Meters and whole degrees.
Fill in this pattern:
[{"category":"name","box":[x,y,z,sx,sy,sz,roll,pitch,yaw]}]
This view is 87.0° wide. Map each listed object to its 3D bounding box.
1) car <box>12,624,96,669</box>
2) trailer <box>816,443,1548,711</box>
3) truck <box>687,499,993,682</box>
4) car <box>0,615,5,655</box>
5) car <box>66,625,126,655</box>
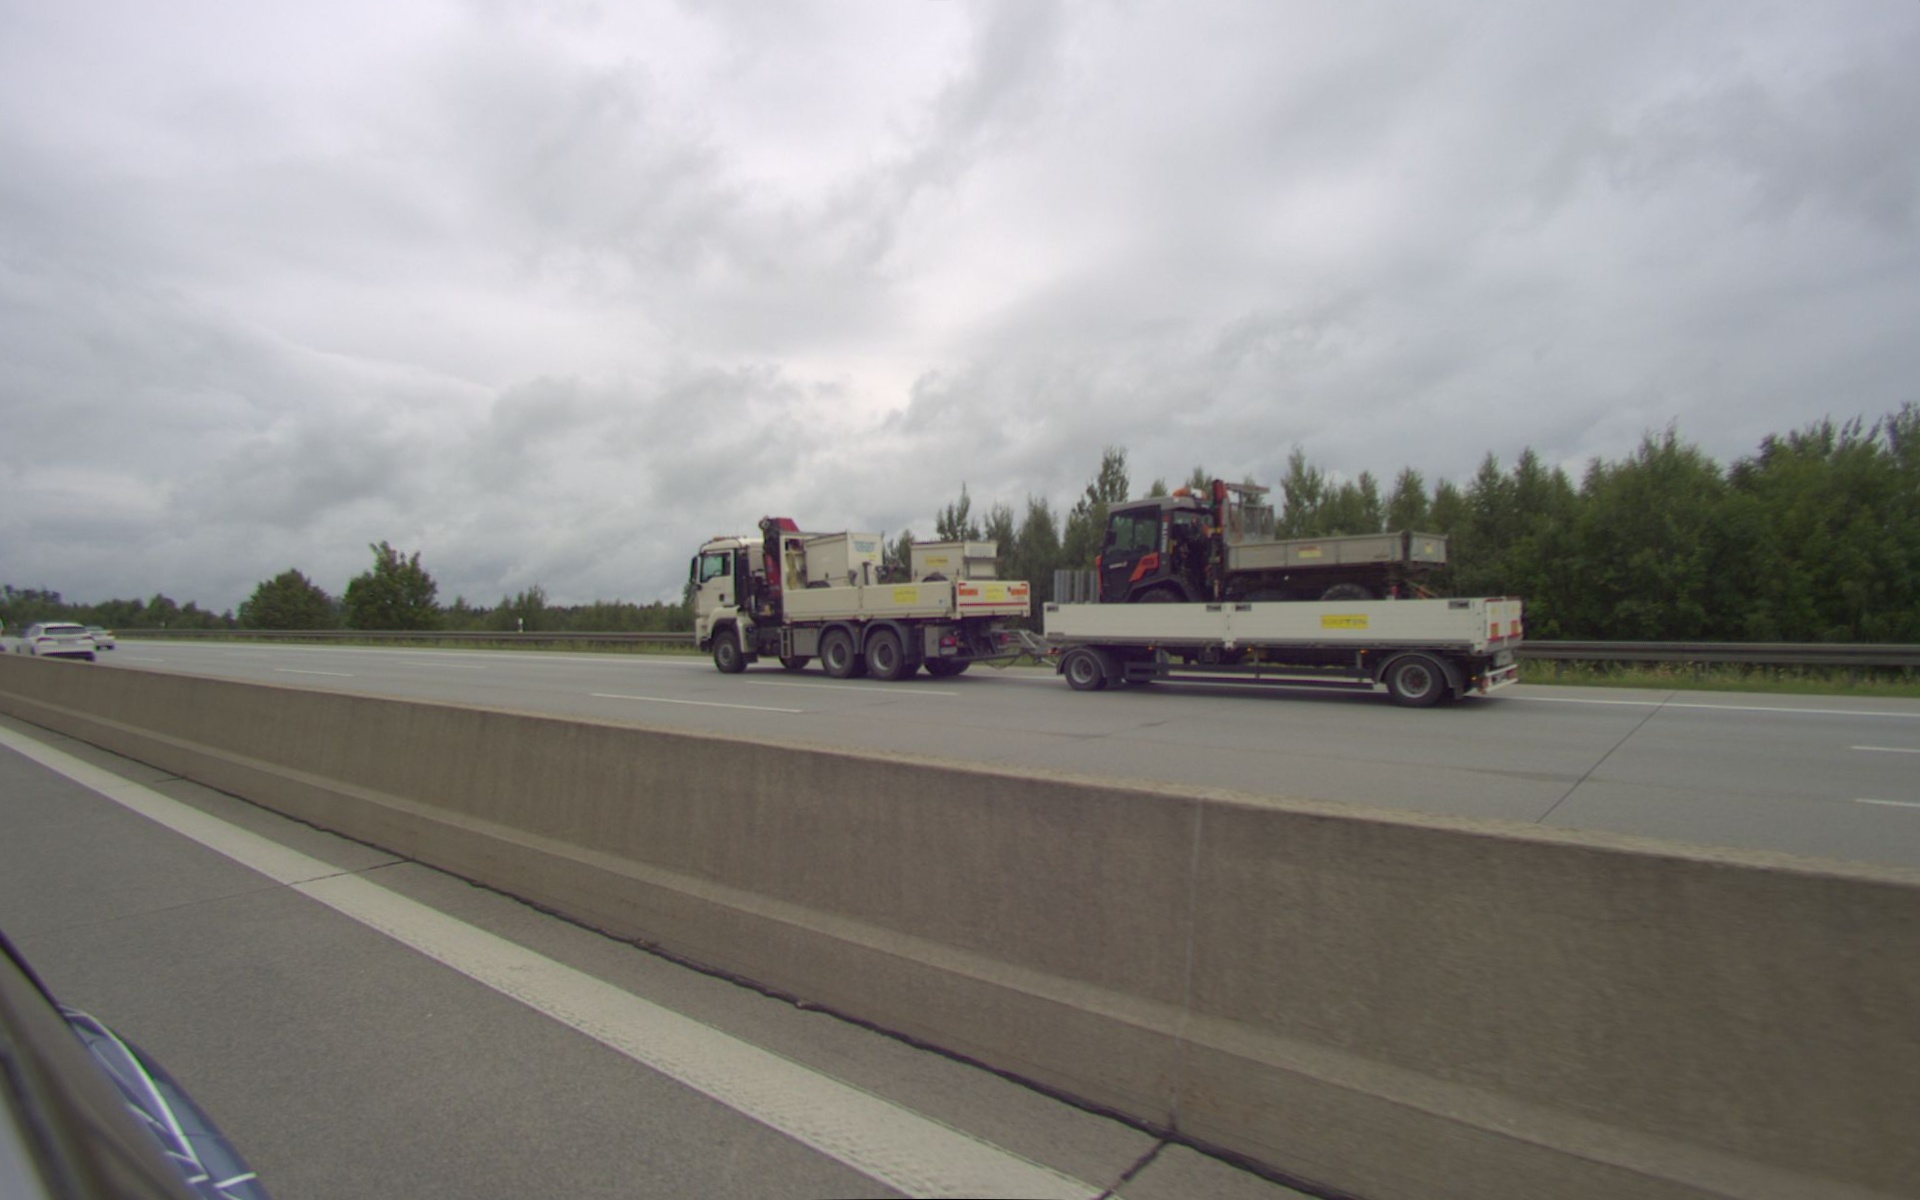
[{"category":"car","box":[-33.104,1.711,36.953,4.210,1.431,1.697,-3,1,41]},{"category":"trailer","box":[2.900,-0.212,18.861,13.710,3.569,2.561,-1,-1,40]},{"category":"truck","box":[-3.048,-0.107,23.792,7.653,3.680,2.560,-2,-1,40]},{"category":"car","box":[-50.721,1.848,51.766,5.518,2.029,1.974,-3,-3,39]},{"category":"car","box":[-45.564,2.106,53.328,4.094,1.378,1.719,-3,1,41]}]
